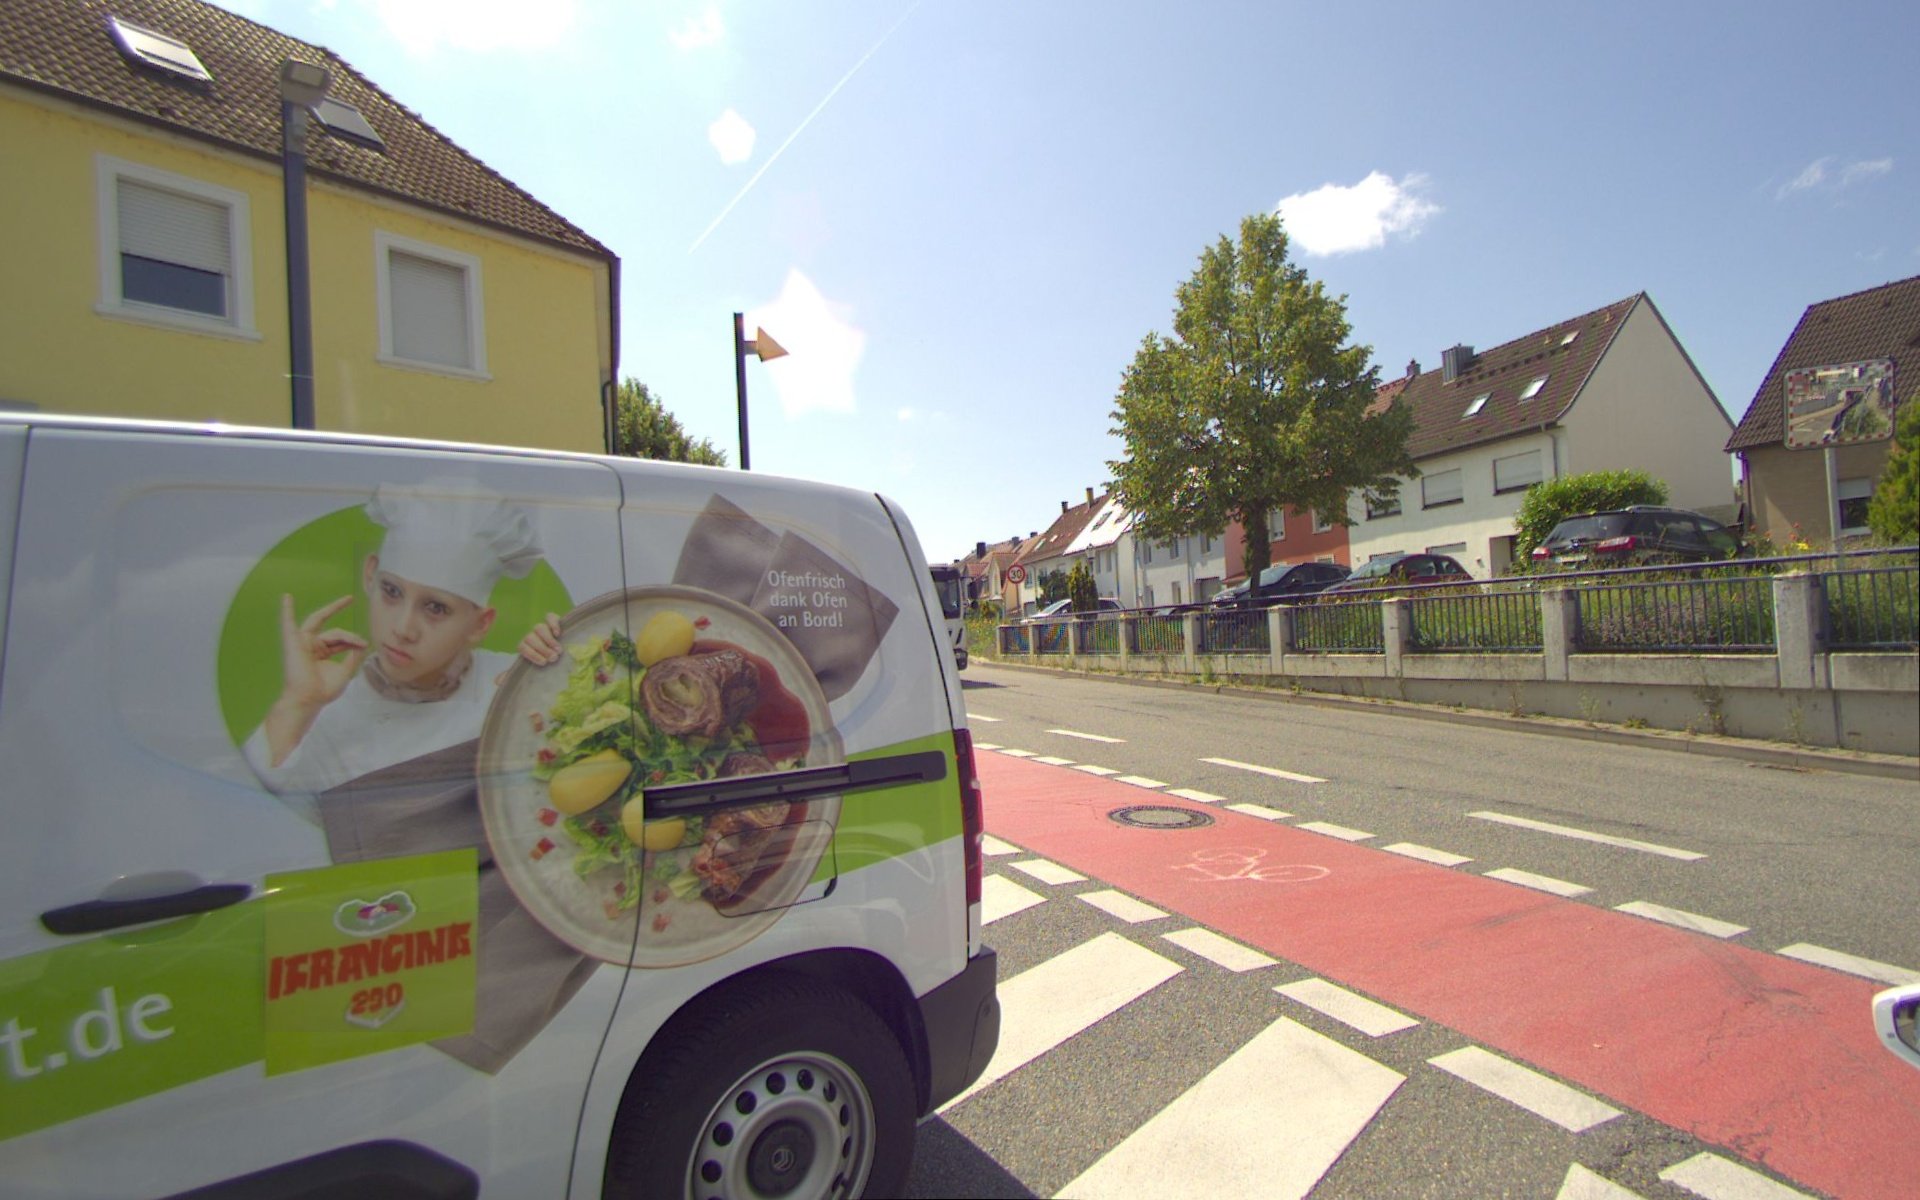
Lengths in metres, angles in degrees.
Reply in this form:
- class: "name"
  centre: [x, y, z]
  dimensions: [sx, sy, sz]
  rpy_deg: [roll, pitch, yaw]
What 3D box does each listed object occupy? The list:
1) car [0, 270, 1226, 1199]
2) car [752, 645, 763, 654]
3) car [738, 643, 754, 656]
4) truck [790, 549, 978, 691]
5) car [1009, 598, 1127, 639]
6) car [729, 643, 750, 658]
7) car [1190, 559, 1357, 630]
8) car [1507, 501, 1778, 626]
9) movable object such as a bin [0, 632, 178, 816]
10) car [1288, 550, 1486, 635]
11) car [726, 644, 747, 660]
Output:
- class: "car"
  centre: [-1.664, 0.510, 2.155]
  dimensions: [4.511, 1.879, 1.801]
  rpy_deg: [0, 0, -34]
- class: "car"
  centre: [-34.936, 8.577, 173.443]
  dimensions: [1.782, 1.416, 3.993]
  rpy_deg: [-3, -1, -10]
- class: "car"
  centre: [-26.689, 6.177, 125.394]
  dimensions: [1.782, 1.416, 3.994]
  rpy_deg: [-3, -1, -10]
- class: "truck"
  centre: [-2.198, 0.516, 24.910]
  dimensions: [2.578, 2.915, 8.036]
  rpy_deg: [0, -2, -20]
- class: "car"
  centre: [4.173, 0.711, 38.845]
  dimensions: [4.189, 1.508, 1.740]
  rpy_deg: [0, 1, -18]
- class: "car"
  centre: [-23.958, 5.453, 109.353]
  dimensions: [1.964, 1.416, 3.994]
  rpy_deg: [-3, -1, -10]
- class: "car"
  centre: [7.577, -0.121, 24.310]
  dimensions: [3.560, 1.608, 1.862]
  rpy_deg: [0, 1, -25]
- class: "car"
  centre: [11.034, -0.532, 16.243]
  dimensions: [3.945, 1.821, 1.862]
  rpy_deg: [0, 1, -25]
- class: "movable object such as a bin"
  centre: [-6.551, 0.887, 7.555]
  dimensions: [0.875, 1.241, 0.897]
  rpy_deg: [-3, -2, 41]
- class: "car"
  centre: [8.788, -0.149, 20.691]
  dimensions: [3.560, 1.608, 1.862]
  rpy_deg: [0, 1, -25]
- class: "car"
  centre: [-22.227, 5.129, 99.871]
  dimensions: [1.965, 1.416, 3.991]
  rpy_deg: [-2, -1, -12]
